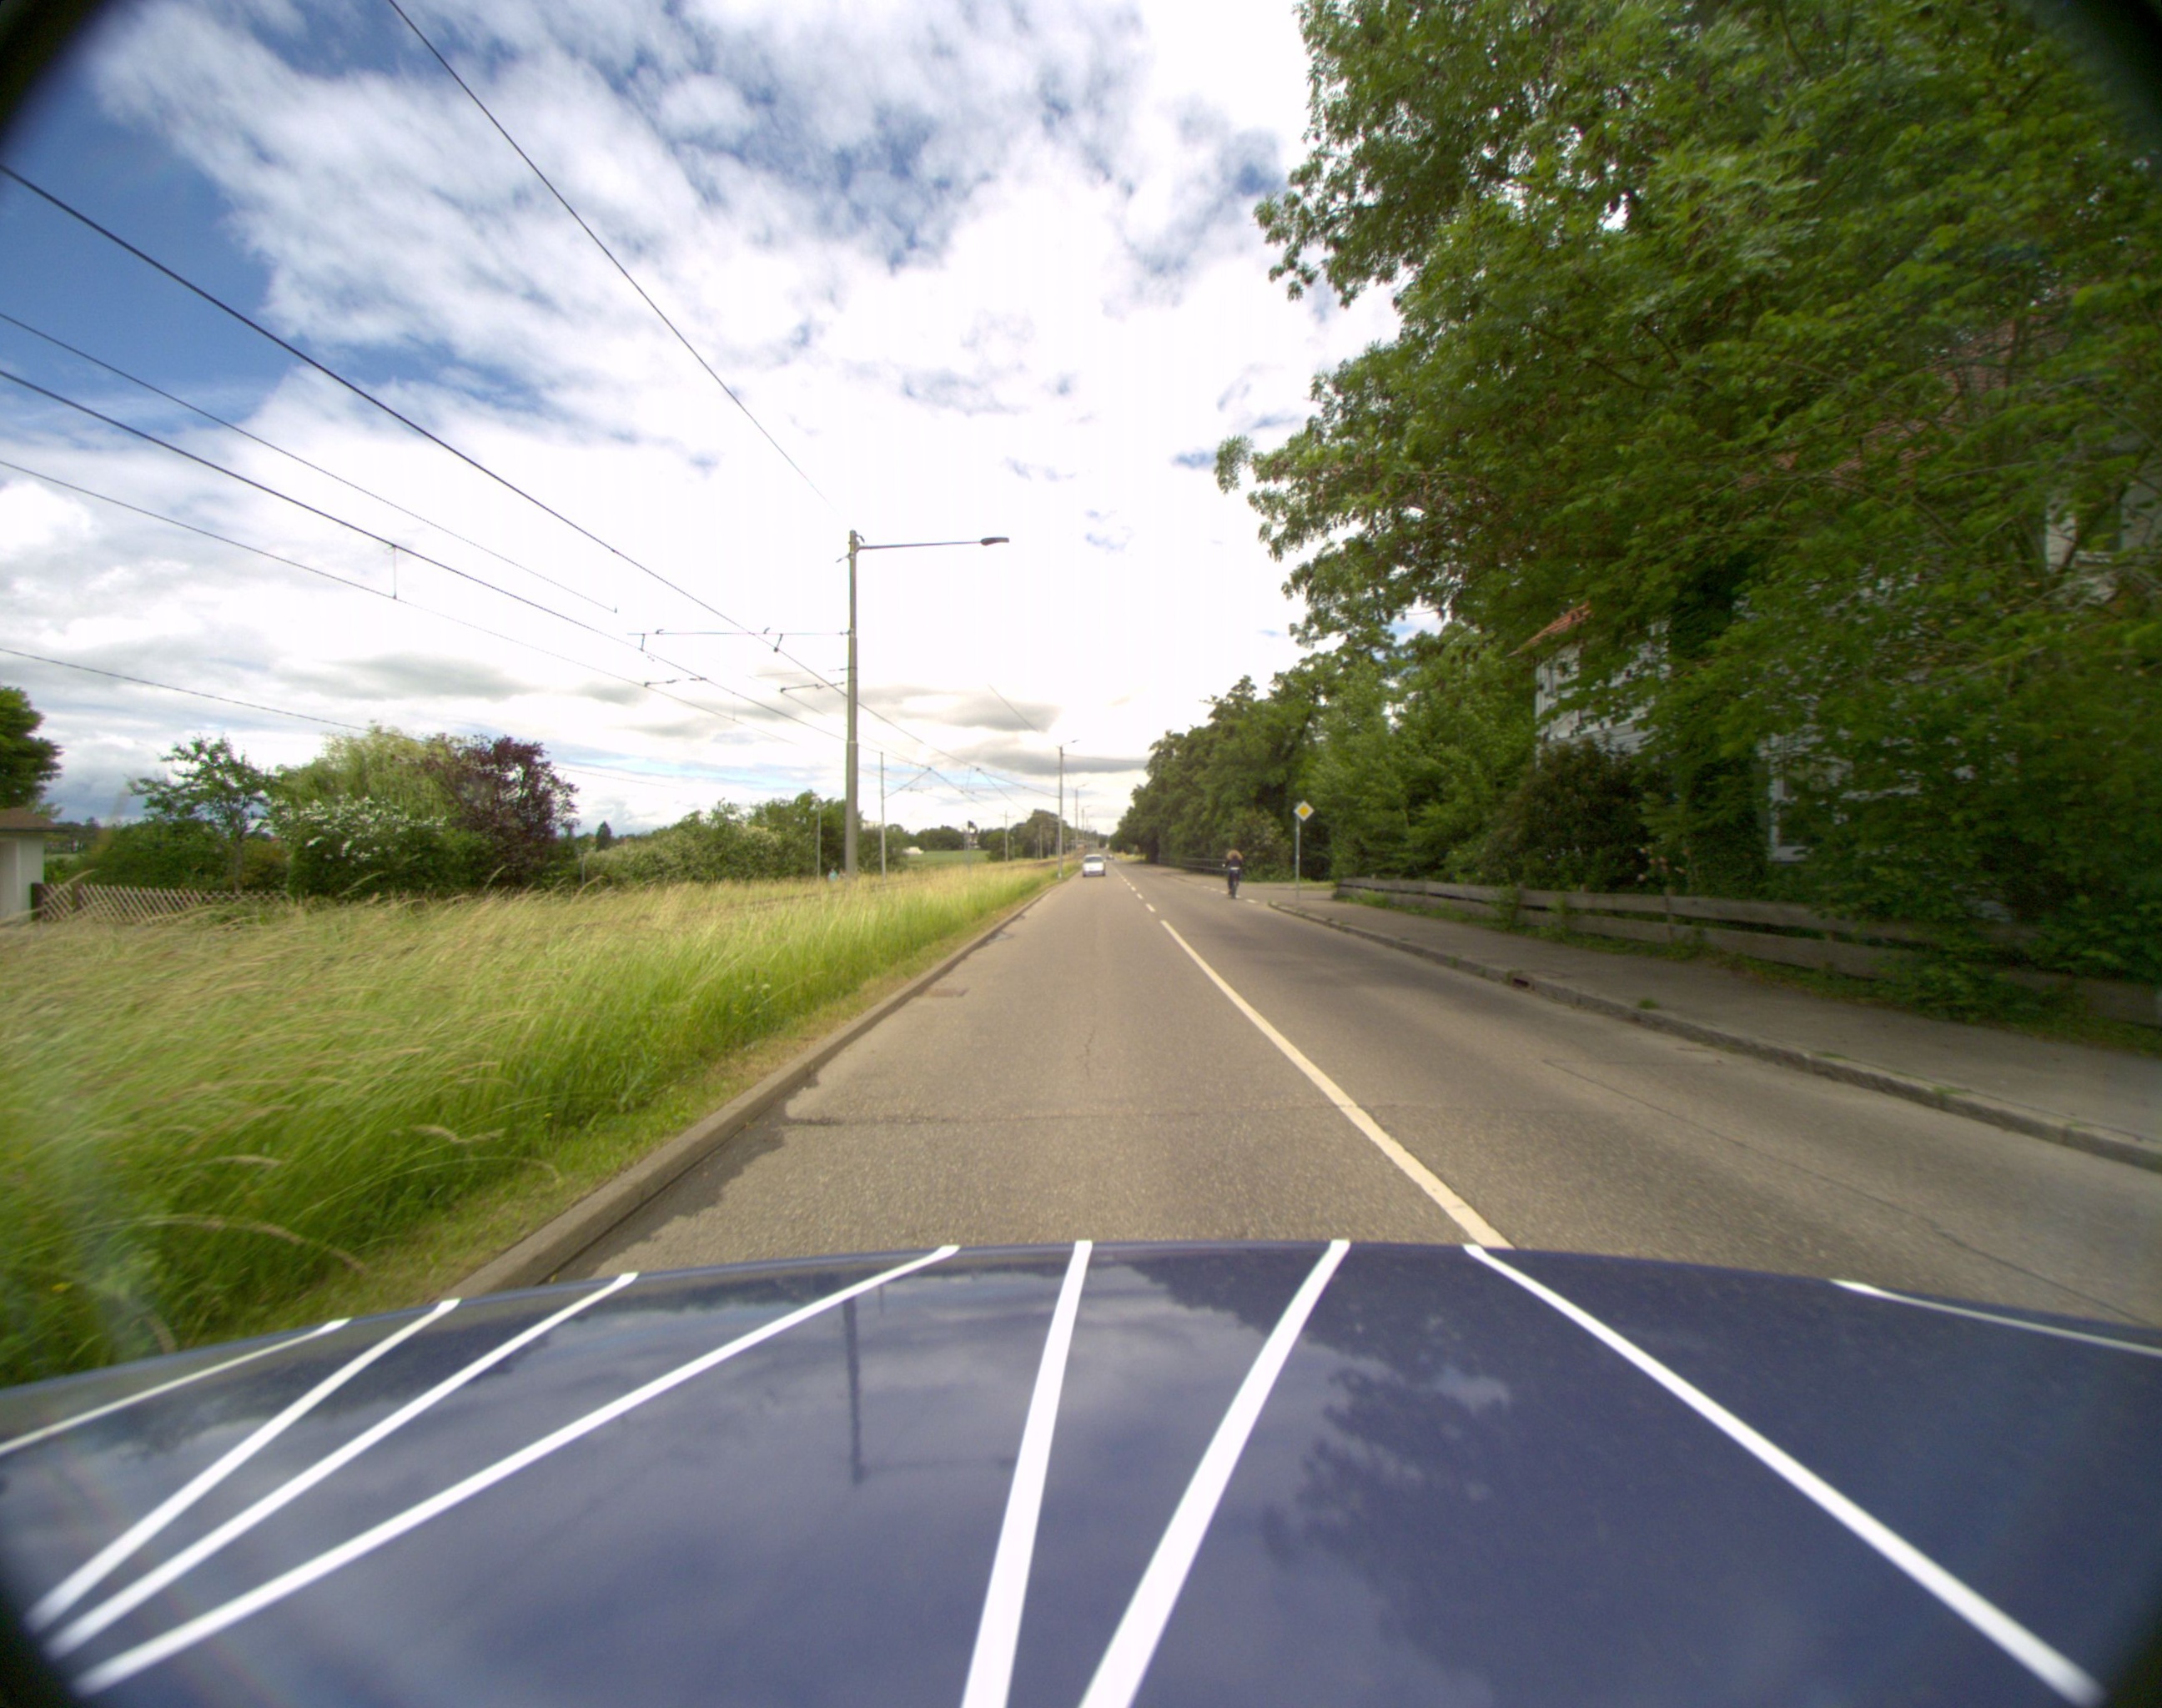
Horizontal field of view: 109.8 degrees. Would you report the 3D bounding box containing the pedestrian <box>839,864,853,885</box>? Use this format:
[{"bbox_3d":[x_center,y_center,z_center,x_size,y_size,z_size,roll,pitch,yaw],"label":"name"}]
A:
[{"bbox_3d":[-16.843,1.456,54.433,0.598,1.422,0.667,-2,1,21],"label":"pedestrian"}]

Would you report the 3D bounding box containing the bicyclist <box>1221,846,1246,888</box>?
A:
[{"bbox_3d":[5.584,0.471,27.840,0.780,1.540,0.870,0,1,1],"label":"bicyclist"}]

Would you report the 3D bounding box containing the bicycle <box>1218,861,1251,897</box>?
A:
[{"bbox_3d":[5.630,0.886,27.982,0.757,1.219,2.308,1,0,1],"label":"bicycle"}]

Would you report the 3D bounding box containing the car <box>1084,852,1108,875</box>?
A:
[{"bbox_3d":[1.123,0.653,55.703,1.643,1.510,3.869,-2,1,2],"label":"car"}]

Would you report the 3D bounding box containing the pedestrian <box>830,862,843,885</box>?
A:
[{"bbox_3d":[-17.598,1.415,54.678,0.617,1.613,0.584,-2,1,21],"label":"pedestrian"}]
